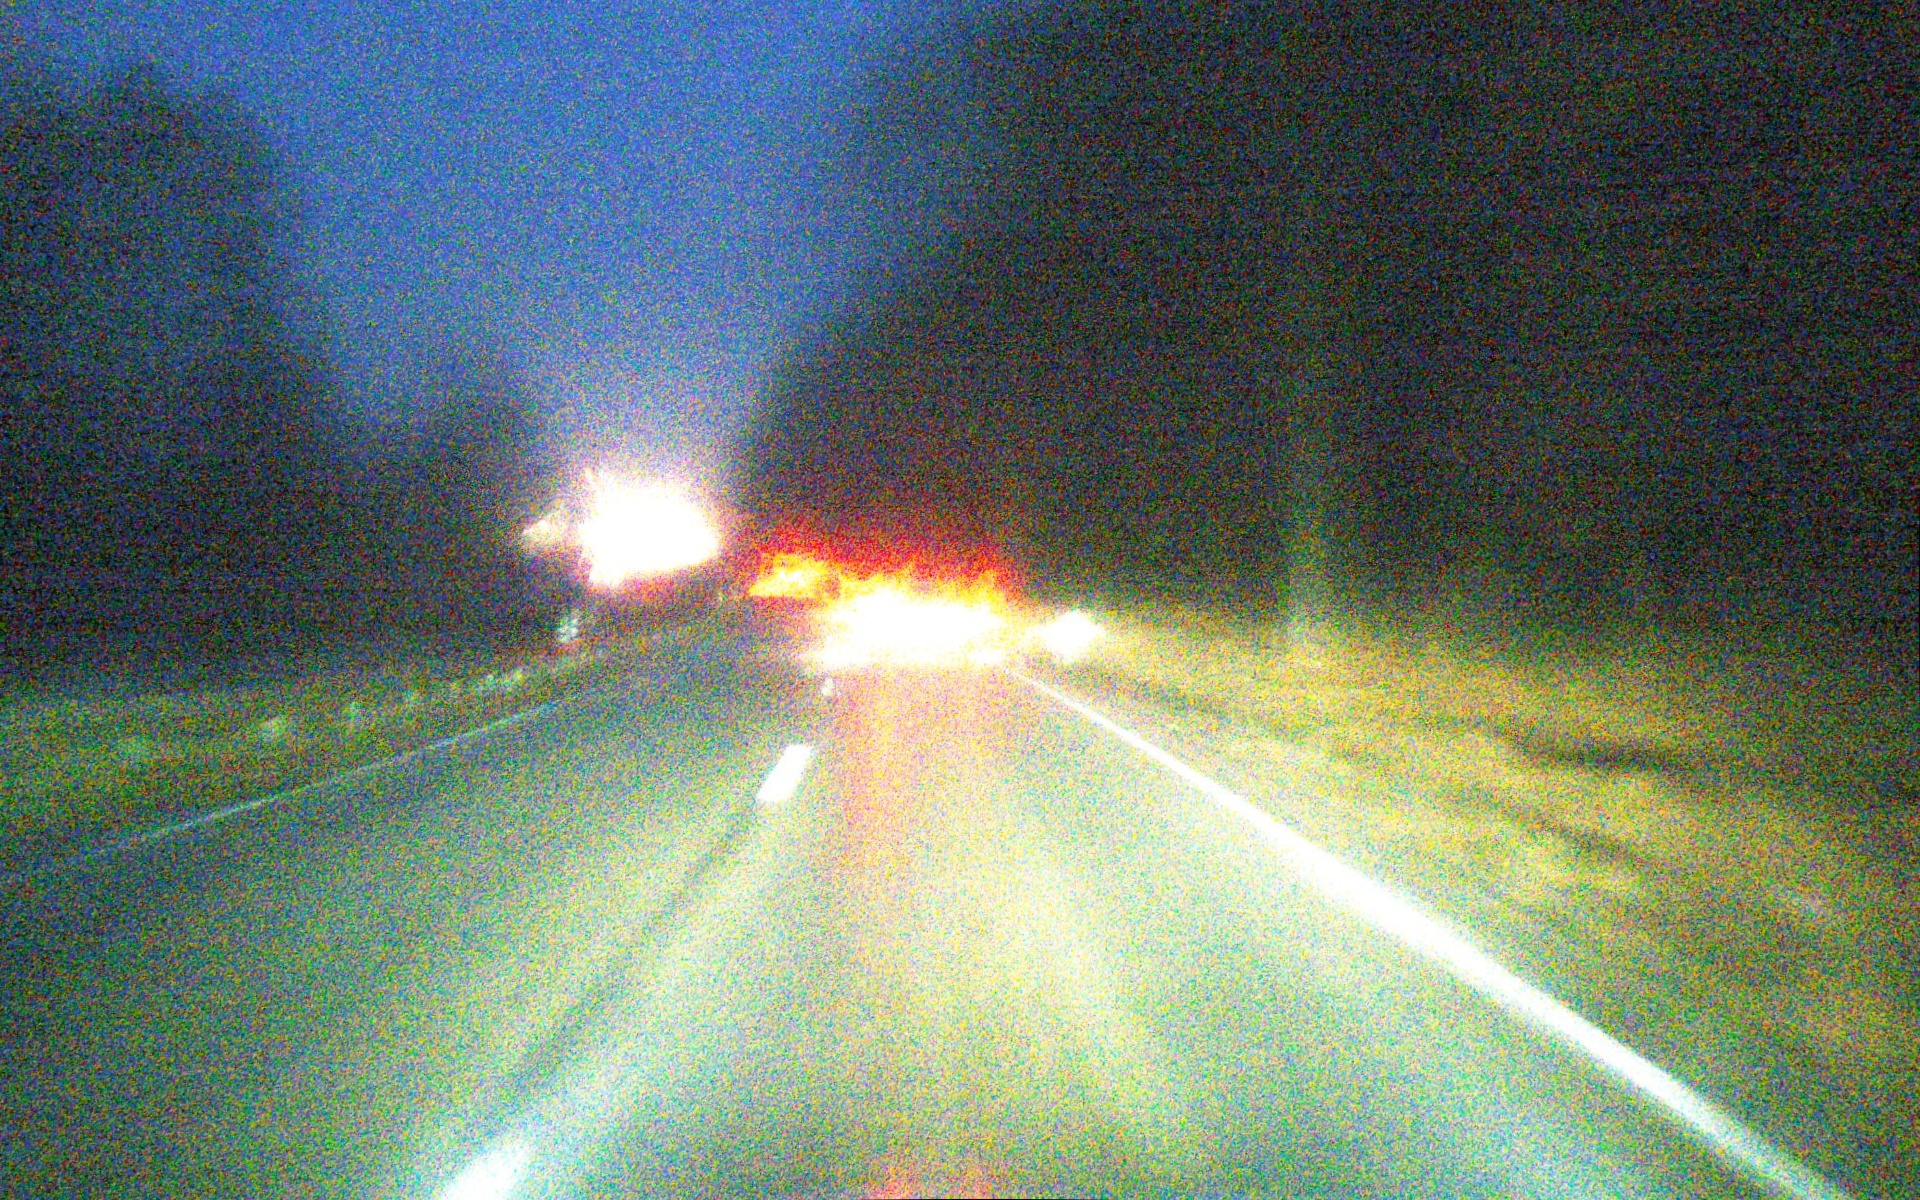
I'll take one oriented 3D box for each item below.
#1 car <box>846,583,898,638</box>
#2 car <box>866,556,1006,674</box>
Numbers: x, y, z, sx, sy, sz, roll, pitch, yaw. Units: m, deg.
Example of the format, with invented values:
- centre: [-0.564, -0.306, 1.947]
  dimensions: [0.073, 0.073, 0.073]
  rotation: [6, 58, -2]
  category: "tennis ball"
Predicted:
- centre: [-3.536, 0.437, 66.720]
  dimensions: [1.954, 2.049, 3.997]
  rotation: [-3, 0, -3]
  category: "car"
- centre: [-0.521, 0.240, 31.128]
  dimensions: [2.408, 1.992, 4.909]
  rotation: [-1, 0, -3]
  category: "car"
